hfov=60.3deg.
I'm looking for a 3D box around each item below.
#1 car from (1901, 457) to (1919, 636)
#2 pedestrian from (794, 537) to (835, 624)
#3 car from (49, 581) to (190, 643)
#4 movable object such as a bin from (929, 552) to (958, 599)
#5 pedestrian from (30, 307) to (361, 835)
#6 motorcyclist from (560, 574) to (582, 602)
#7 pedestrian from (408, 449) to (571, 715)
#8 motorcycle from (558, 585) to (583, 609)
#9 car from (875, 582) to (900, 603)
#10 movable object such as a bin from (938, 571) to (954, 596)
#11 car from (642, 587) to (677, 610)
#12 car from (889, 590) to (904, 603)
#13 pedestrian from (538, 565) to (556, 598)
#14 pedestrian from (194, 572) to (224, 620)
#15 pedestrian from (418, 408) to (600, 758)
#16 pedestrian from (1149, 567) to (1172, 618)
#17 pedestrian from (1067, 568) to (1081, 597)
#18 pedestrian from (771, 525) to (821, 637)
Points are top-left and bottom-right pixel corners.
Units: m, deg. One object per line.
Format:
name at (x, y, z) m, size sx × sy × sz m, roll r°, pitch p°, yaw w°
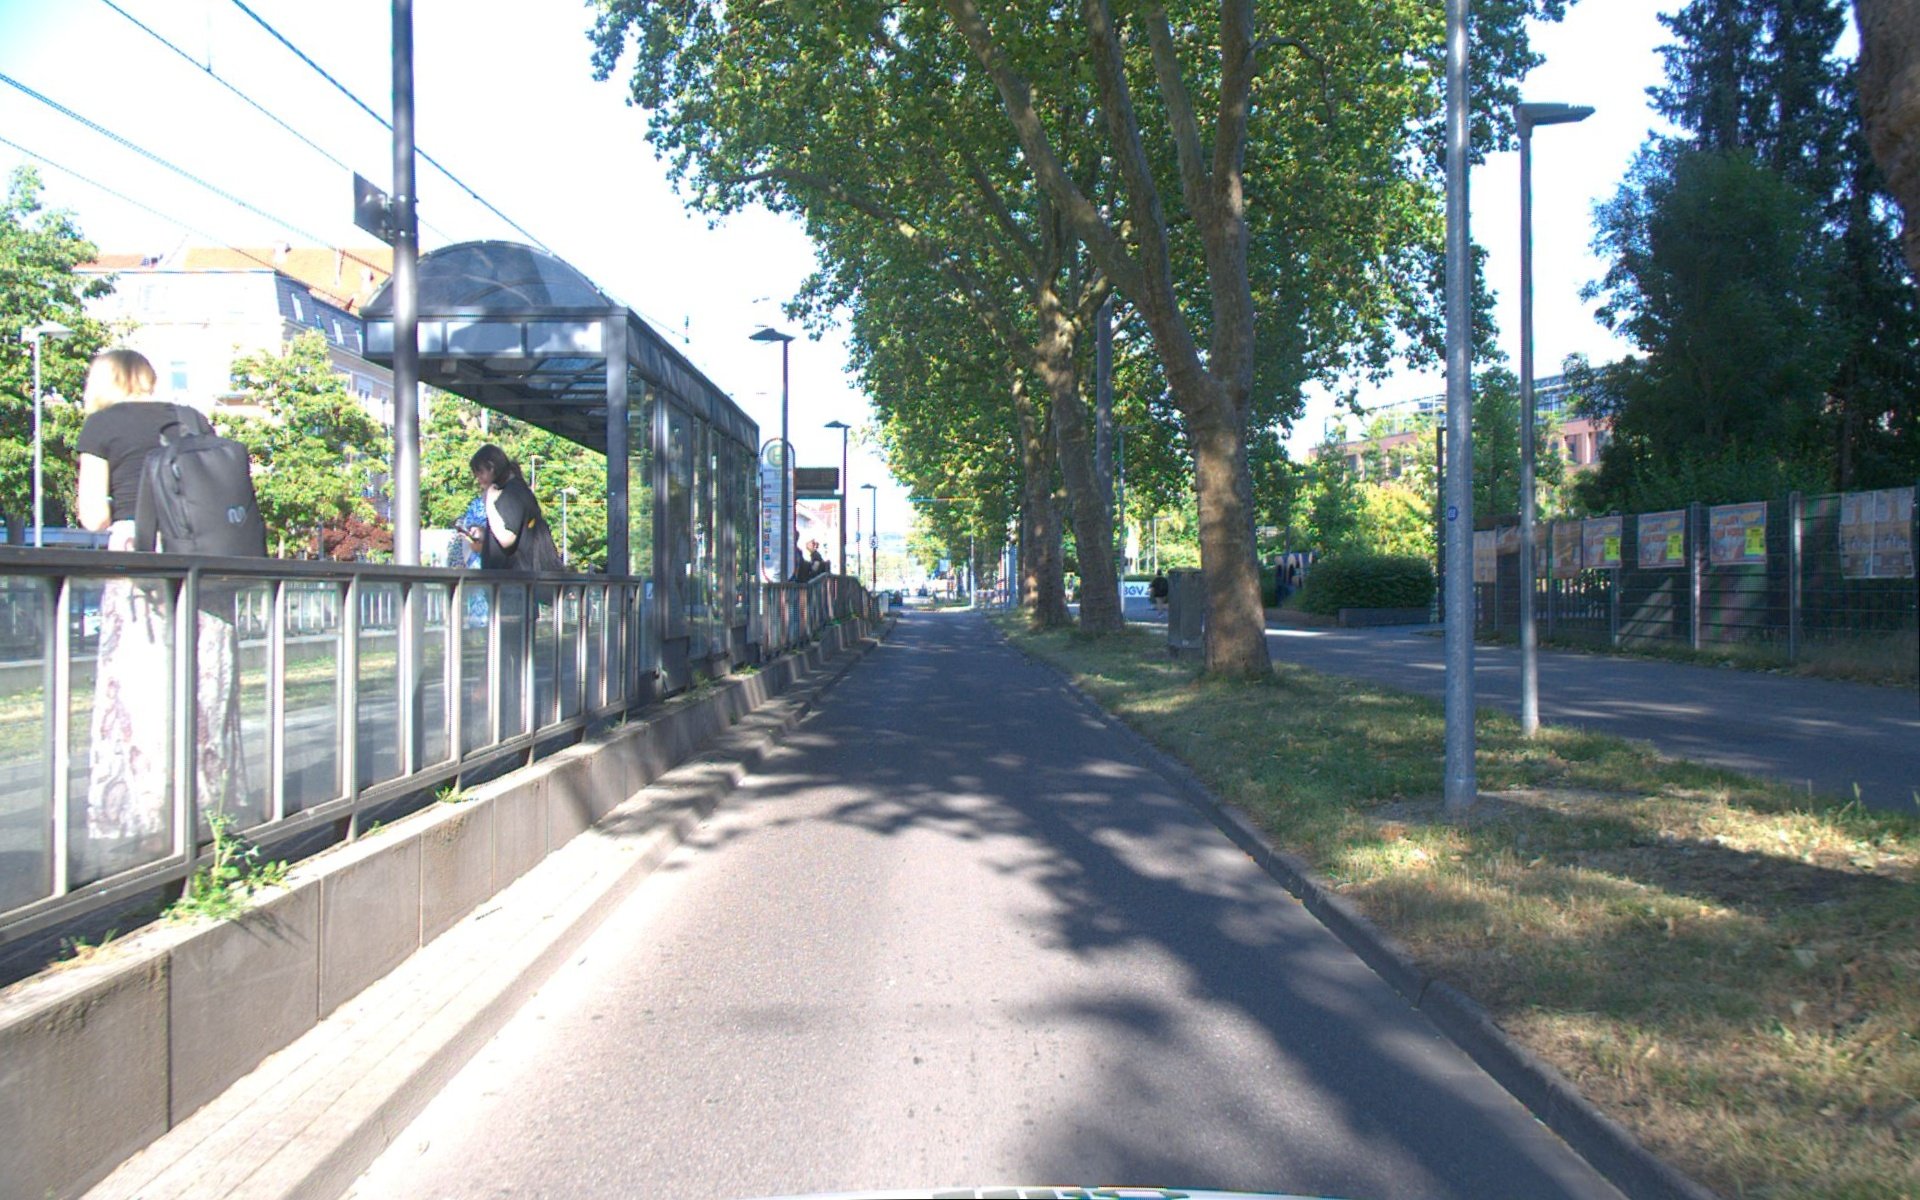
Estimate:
car at (14.469, -0.720, 20.588) m, size 1.952 × 2.543 × 6.347 m, roll 2°, pitch 0°, yaw 1°
pedestrian at (-2.937, -0.384, 33.495) m, size 0.741 × 1.719 × 0.678 m, roll 2°, pitch 0°, yaw -1°
car at (-23.473, 0.312, 46.364) m, size 1.685 × 1.614 × 4.066 m, roll 2°, pitch 0°, yaw 3°
movable object such as a bin at (-1.955, -2.860, 193.554) m, size 3.025 × 5.176 × 8.889 m, roll -3°, pitch 0°, yaw -1°
pedestrian at (-2.485, -0.089, 5.471) m, size 0.664 × 1.589 × 0.851 m, roll 2°, pitch 0°, yaw -1°
motorcyclist at (-18.543, -0.571, 78.800) m, size 0.802 × 1.322 × 1.275 m, roll 2°, pitch 0°, yaw -6°
pedestrian at (-3.244, -0.115, 11.404) m, size 0.900 × 1.752 × 0.624 m, roll 2°, pitch 0°, yaw -35°
motorcycle at (-18.570, -0.139, 78.967) m, size 0.802 × 1.091 × 2.399 m, roll 2°, pitch 0°, yaw -5°
car at (-6.107, -0.620, 139.786) m, size 1.953 × 1.713 × 3.999 m, roll 2°, pitch 0°, yaw -1°
movable object such as a bin at (-1.859, -2.122, 215.717) m, size 1.928 × 3.065 × 4.795 m, roll -3°, pitch 0°, yaw -1°
car at (-19.733, -0.122, 108.762) m, size 1.573 × 1.432 × 3.850 m, roll 2°, pitch 0°, yaw -1°
car at (-10.022, -0.561, 262.194) m, size 1.956 × 1.892 × 3.994 m, roll 2°, pitch 0°, yaw -7°
pedestrian at (-25.302, -1.128, 101.346) m, size 0.841 × 1.961 × 1.086 m, roll -1°, pitch 0°, yaw -2°
pedestrian at (-26.590, -0.131, 58.590) m, size 0.710 × 1.676 × 0.811 m, roll -1°, pitch 0°, yaw -7°
pedestrian at (-2.407, -0.088, 8.896) m, size 0.749 × 1.789 × 0.695 m, roll 2°, pitch 0°, yaw -2°
pedestrian at (6.712, -0.261, 55.404) m, size 0.615 × 1.685 × 0.740 m, roll -2°, pitch 0°, yaw -1°
pedestrian at (7.192, -1.089, 104.536) m, size 0.789 × 1.824 × 1.110 m, roll -2°, pitch 0°, yaw -1°
pedestrian at (-2.591, -0.293, 26.180) m, size 0.665 × 1.719 × 0.894 m, roll 2°, pitch 0°, yaw -1°
